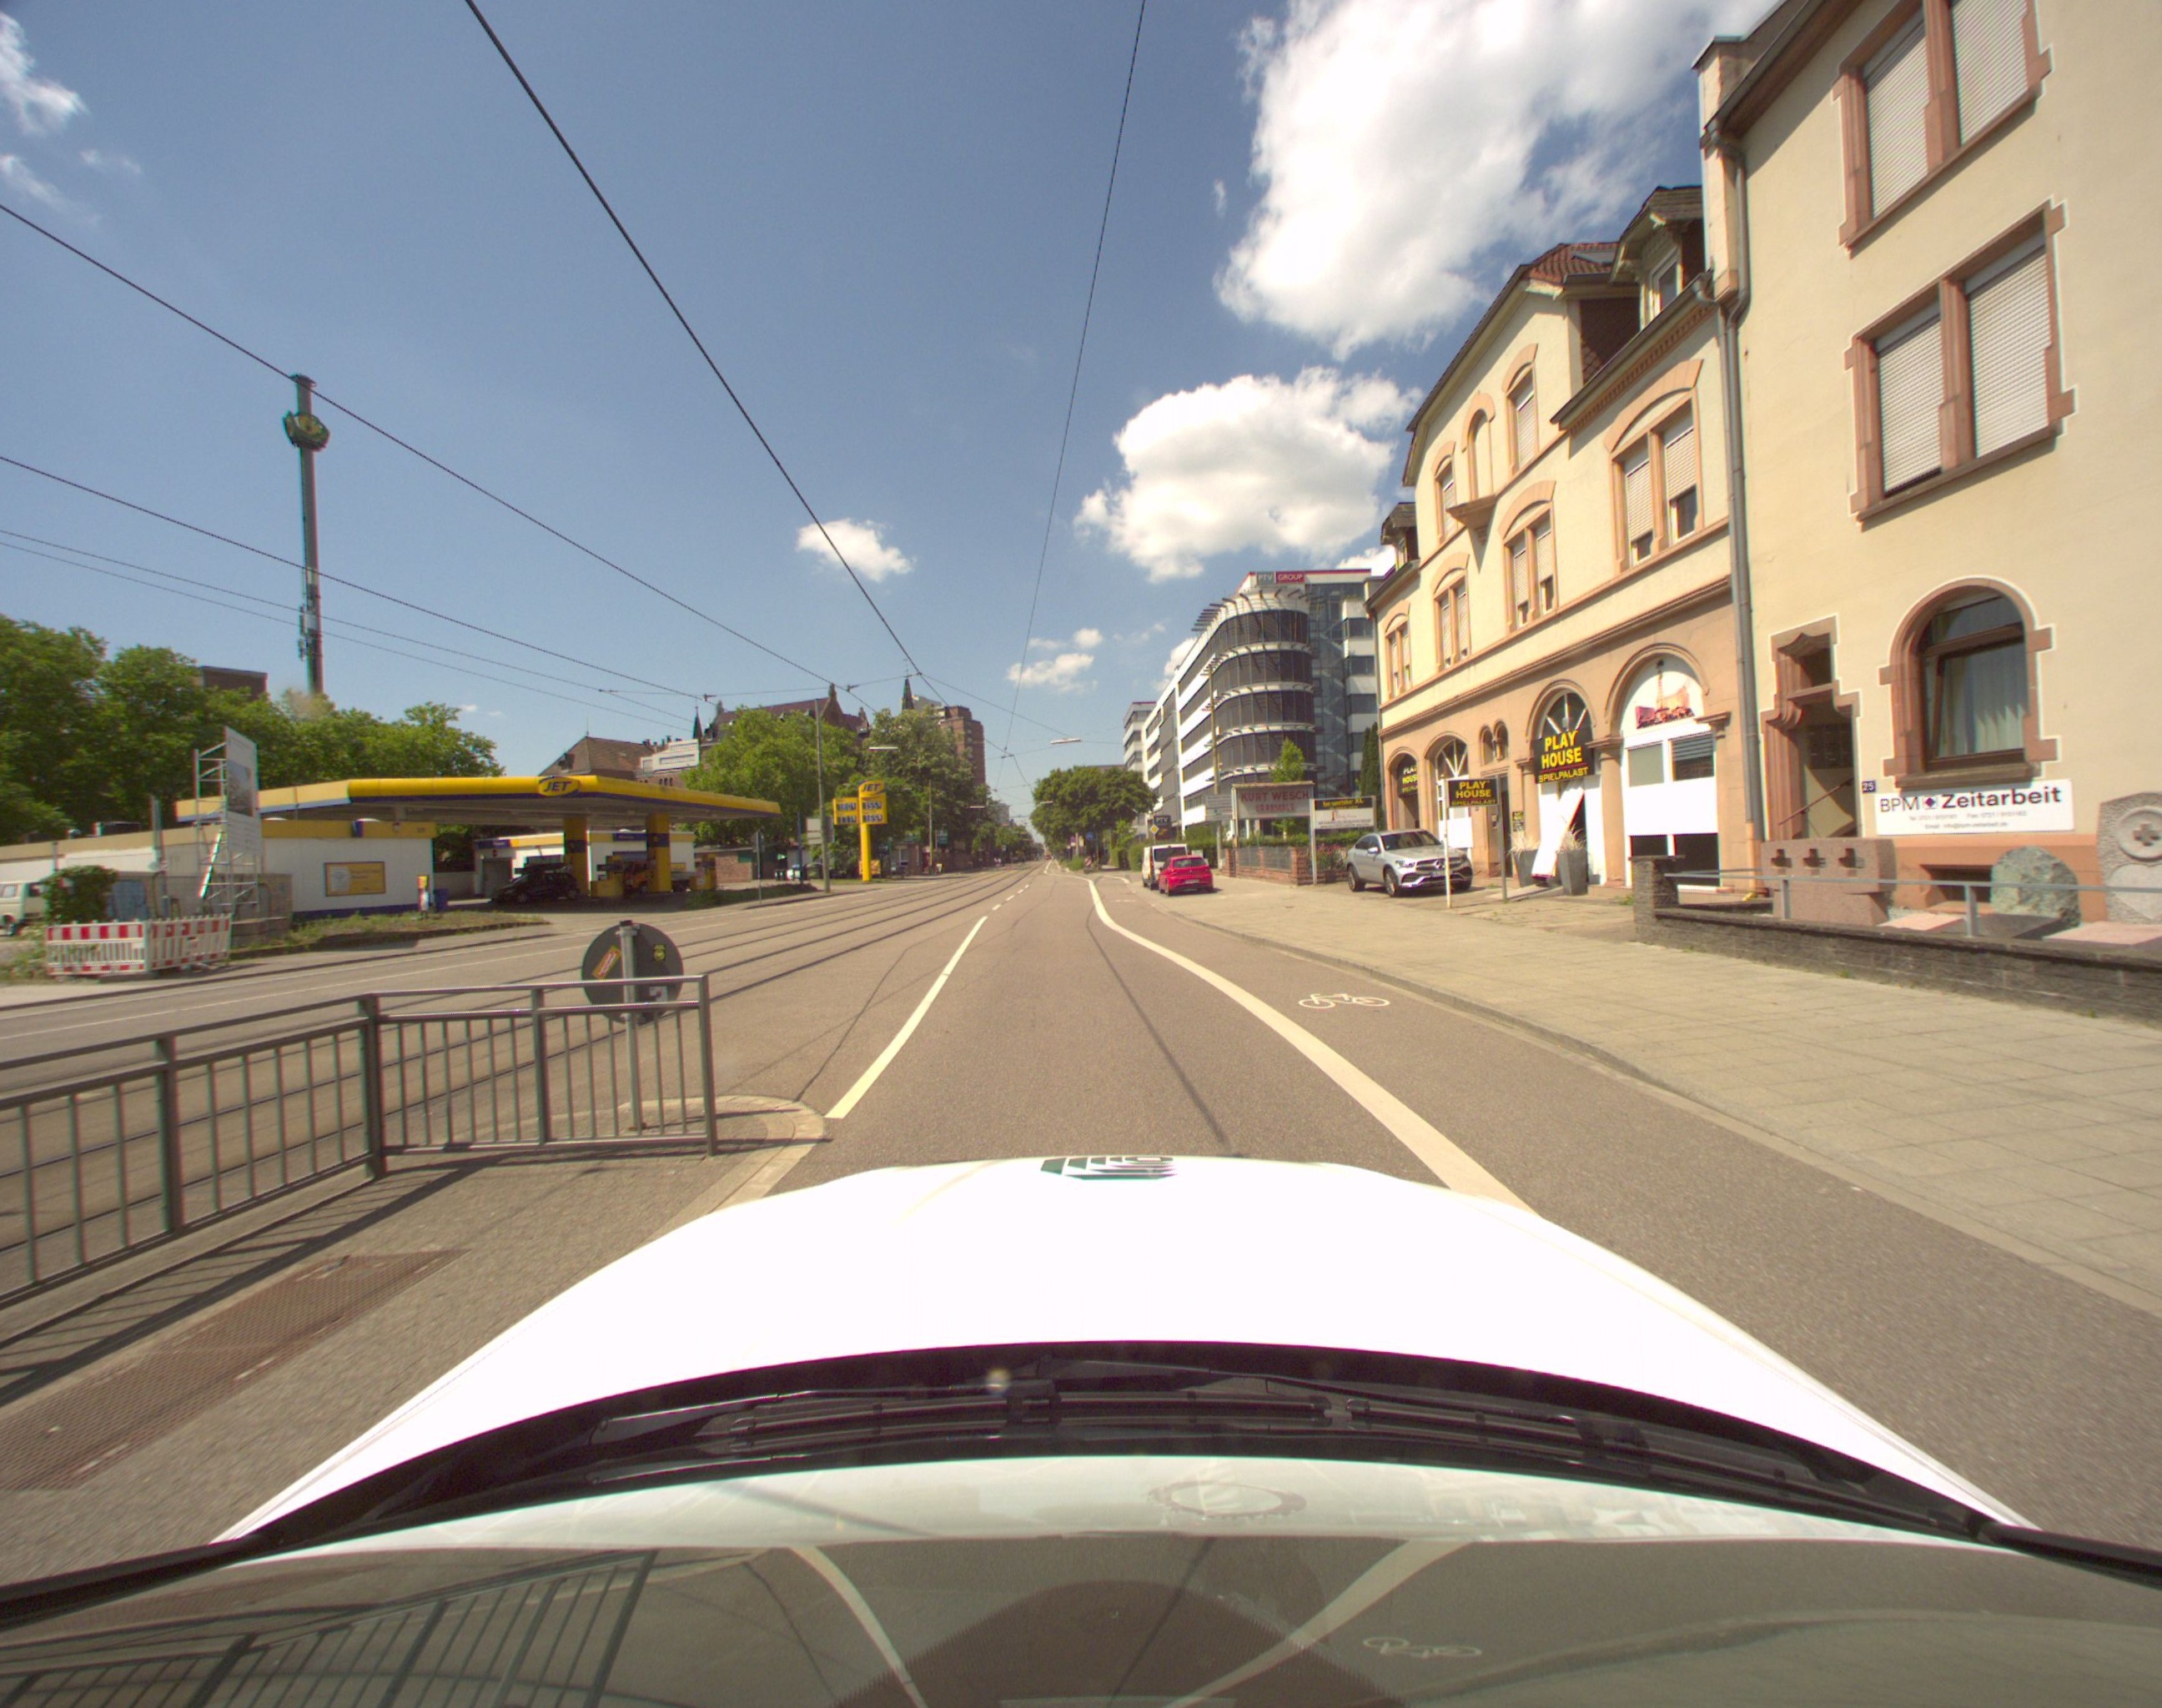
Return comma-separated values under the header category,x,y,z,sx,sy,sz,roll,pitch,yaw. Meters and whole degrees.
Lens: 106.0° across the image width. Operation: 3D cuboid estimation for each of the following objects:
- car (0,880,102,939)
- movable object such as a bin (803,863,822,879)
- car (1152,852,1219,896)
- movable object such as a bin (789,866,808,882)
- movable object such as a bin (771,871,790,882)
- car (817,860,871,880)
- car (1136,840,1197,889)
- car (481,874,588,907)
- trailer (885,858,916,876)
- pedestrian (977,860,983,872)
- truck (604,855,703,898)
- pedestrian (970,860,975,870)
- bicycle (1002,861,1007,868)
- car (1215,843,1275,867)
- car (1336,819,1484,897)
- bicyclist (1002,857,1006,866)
category,x,y,z,sx,sy,sz,roll,pitch,yaw
car,-38.117,2.028,29.452,4.208,1.937,1.902,-3,0,16
movable object such as a bin,-23.929,1.525,72.562,1.342,1.354,0.757,-2,0,-4
car,3.968,0.716,31.432,1.987,1.442,4.016,-4,0,0
movable object such as a bin,-25.455,1.779,73.384,1.336,1.354,0.760,-2,0,10
movable object such as a bin,-27.270,2.027,73.914,1.333,0.873,0.762,-2,0,18
car,-21.519,1.451,74.048,1.974,1.590,4.360,-2,0,42
car,3.888,0.461,38.114,1.988,1.991,5.510,-4,0,-2
car,-29.678,1.976,44.369,1.975,1.479,4.368,-3,0,26
trailer,-18.488,1.326,83.409,2.822,1.704,1.620,-2,0,-2
pedestrian,-16.044,1.894,129.382,0.813,1.770,0.924,-2,-1,-3
truck,-26.925,1.352,51.515,1.974,2.498,5.235,-3,-1,28
pedestrian,-17.814,1.805,133.769,0.741,1.728,0.866,-2,-1,-3
bicycle,-14.629,2.048,155.774,0.699,1.204,2.238,-5,0,-2
car,10.980,0.044,54.645,3.591,1.451,1.757,-3,0,-3
car,8.276,0.107,21.019,1.871,1.624,4.640,-5,0,1
bicyclist,-14.653,1.498,155.878,0.640,1.679,0.814,-3,-1,-3
